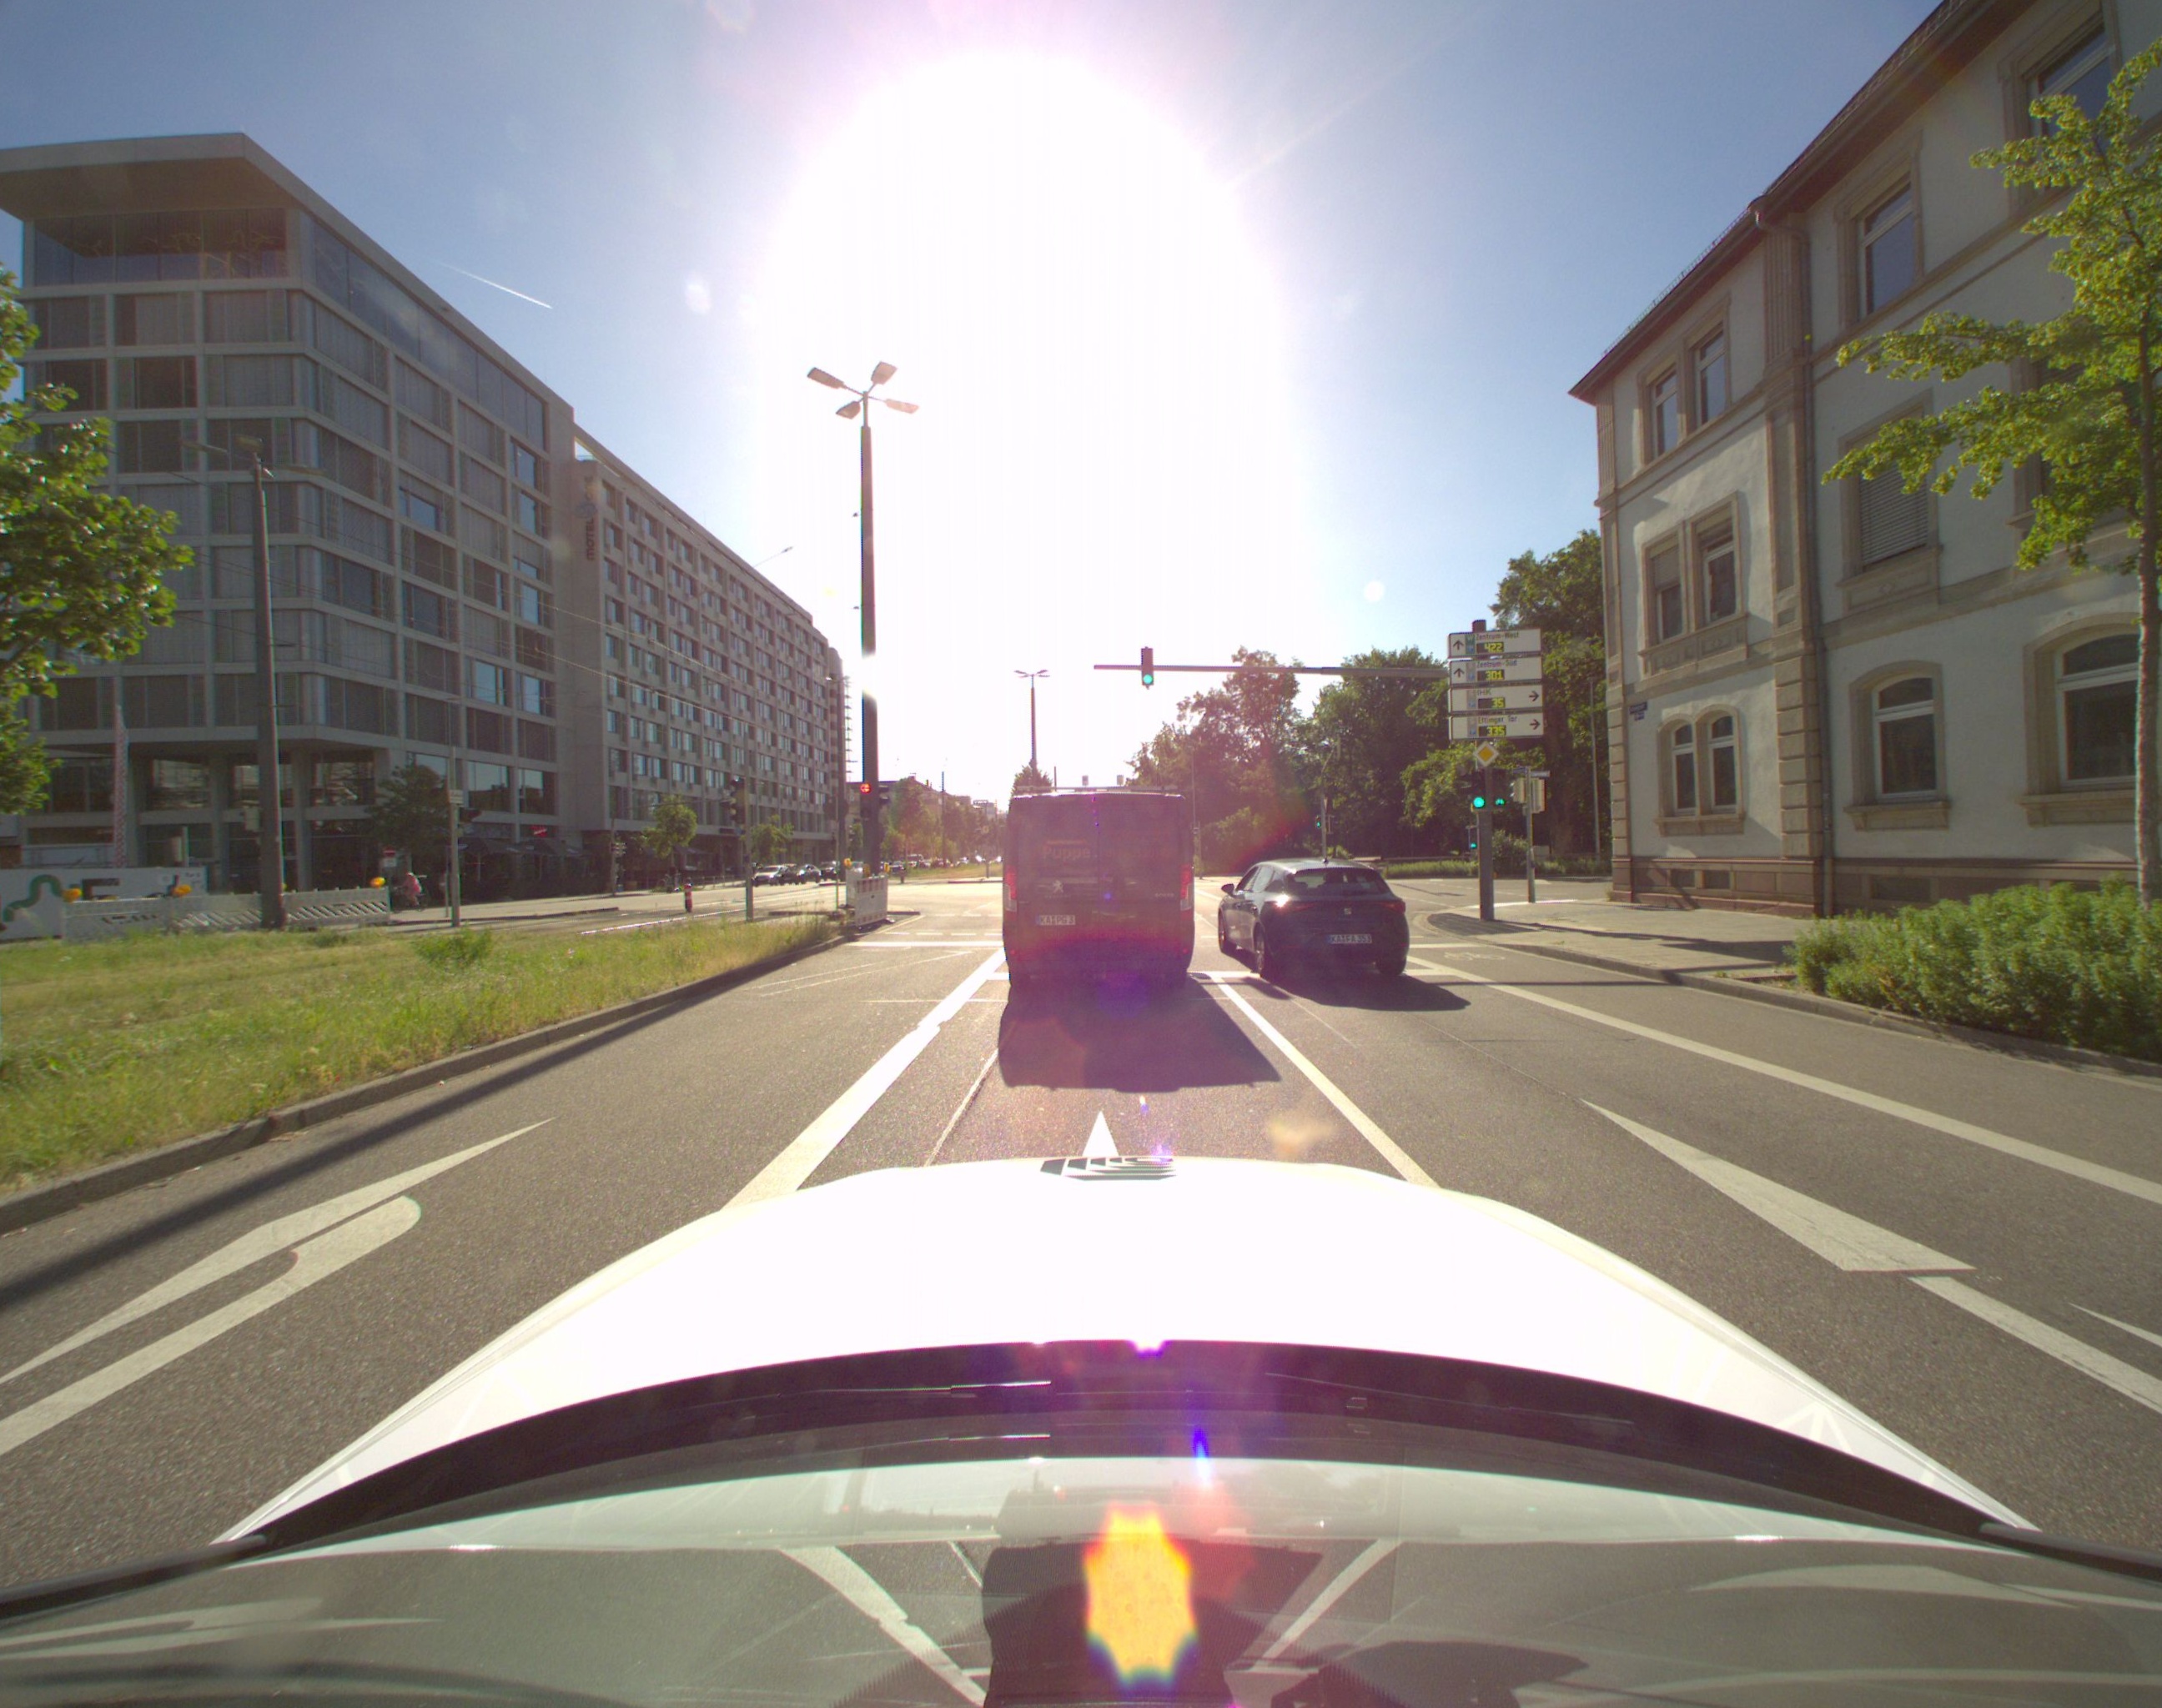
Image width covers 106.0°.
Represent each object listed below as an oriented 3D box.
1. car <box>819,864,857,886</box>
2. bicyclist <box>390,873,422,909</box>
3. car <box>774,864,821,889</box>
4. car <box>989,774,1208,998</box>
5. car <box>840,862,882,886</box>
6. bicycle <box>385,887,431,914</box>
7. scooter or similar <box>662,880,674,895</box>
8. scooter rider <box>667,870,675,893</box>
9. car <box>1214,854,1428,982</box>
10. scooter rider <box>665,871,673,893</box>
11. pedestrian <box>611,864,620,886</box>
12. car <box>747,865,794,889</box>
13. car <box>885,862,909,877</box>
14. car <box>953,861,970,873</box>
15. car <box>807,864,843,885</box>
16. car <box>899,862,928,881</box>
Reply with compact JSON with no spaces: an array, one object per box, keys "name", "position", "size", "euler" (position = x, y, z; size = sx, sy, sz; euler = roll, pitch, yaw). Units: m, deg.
[{"name":"car","position":[-20.138,1.752,67.726],"size":[1.783,1.651,4.002],"euler":[-2,0,2]},{"name":"bicyclist","position":[-29.912,1.631,36.089],"size":[0.590,1.580,0.894],"euler":[0,-1,5]},{"name":"car","position":[-20.036,1.569,57.767],"size":[1.783,1.651,4.002],"euler":[-2,0,2]},{"name":"car","position":[0.203,0.300,10.515],"size":[2.211,2.267,4.484],"euler":[0,0,0]},{"name":"car","position":[-16.564,1.497,61.555],"size":[1.783,1.651,4.337],"euler":[-2,0,2]},{"name":"bicycle","position":[-29.815,2.036,36.120],"size":[0.584,1.100,1.625],"euler":[0,-1,5]},{"name":"scooter or similar","position":[-26.790,2.178,52.799],"size":[0.284,0.947,0.769],"euler":[-2,0,8]},{"name":"scooter rider","position":[-25.993,1.737,51.672],"size":[0.341,1.453,0.239],"euler":[-2,0,1]},{"name":"car","position":[3.029,0.732,11.115],"size":[1.786,1.428,3.849],"euler":[0,0,0]},{"name":"scooter rider","position":[-26.707,1.810,52.782],"size":[0.341,1.453,0.239],"euler":[-2,0,1]},{"name":"pedestrian","position":[-31.321,1.414,54.790],"size":[0.415,1.494,0.343],"euler":[-2,0,1]},{"name":"car","position":[-22.844,1.663,60.114],"size":[1.783,1.651,4.002],"euler":[-2,0,2]},{"name":"car","position":[-21.943,1.888,97.150],"size":[1.783,1.651,4.002],"euler":[-2,0,2]},{"name":"car","position":[-18.075,2.009,123.348],"size":[1.783,1.651,4.002],"euler":[-2,0,2]},{"name":"car","position":[-22.542,1.783,71.909],"size":[1.783,1.651,4.002],"euler":[-2,0,2]},{"name":"car","position":[-16.149,1.645,78.810],"size":[1.783,1.651,4.002],"euler":[-2,0,2]}]
